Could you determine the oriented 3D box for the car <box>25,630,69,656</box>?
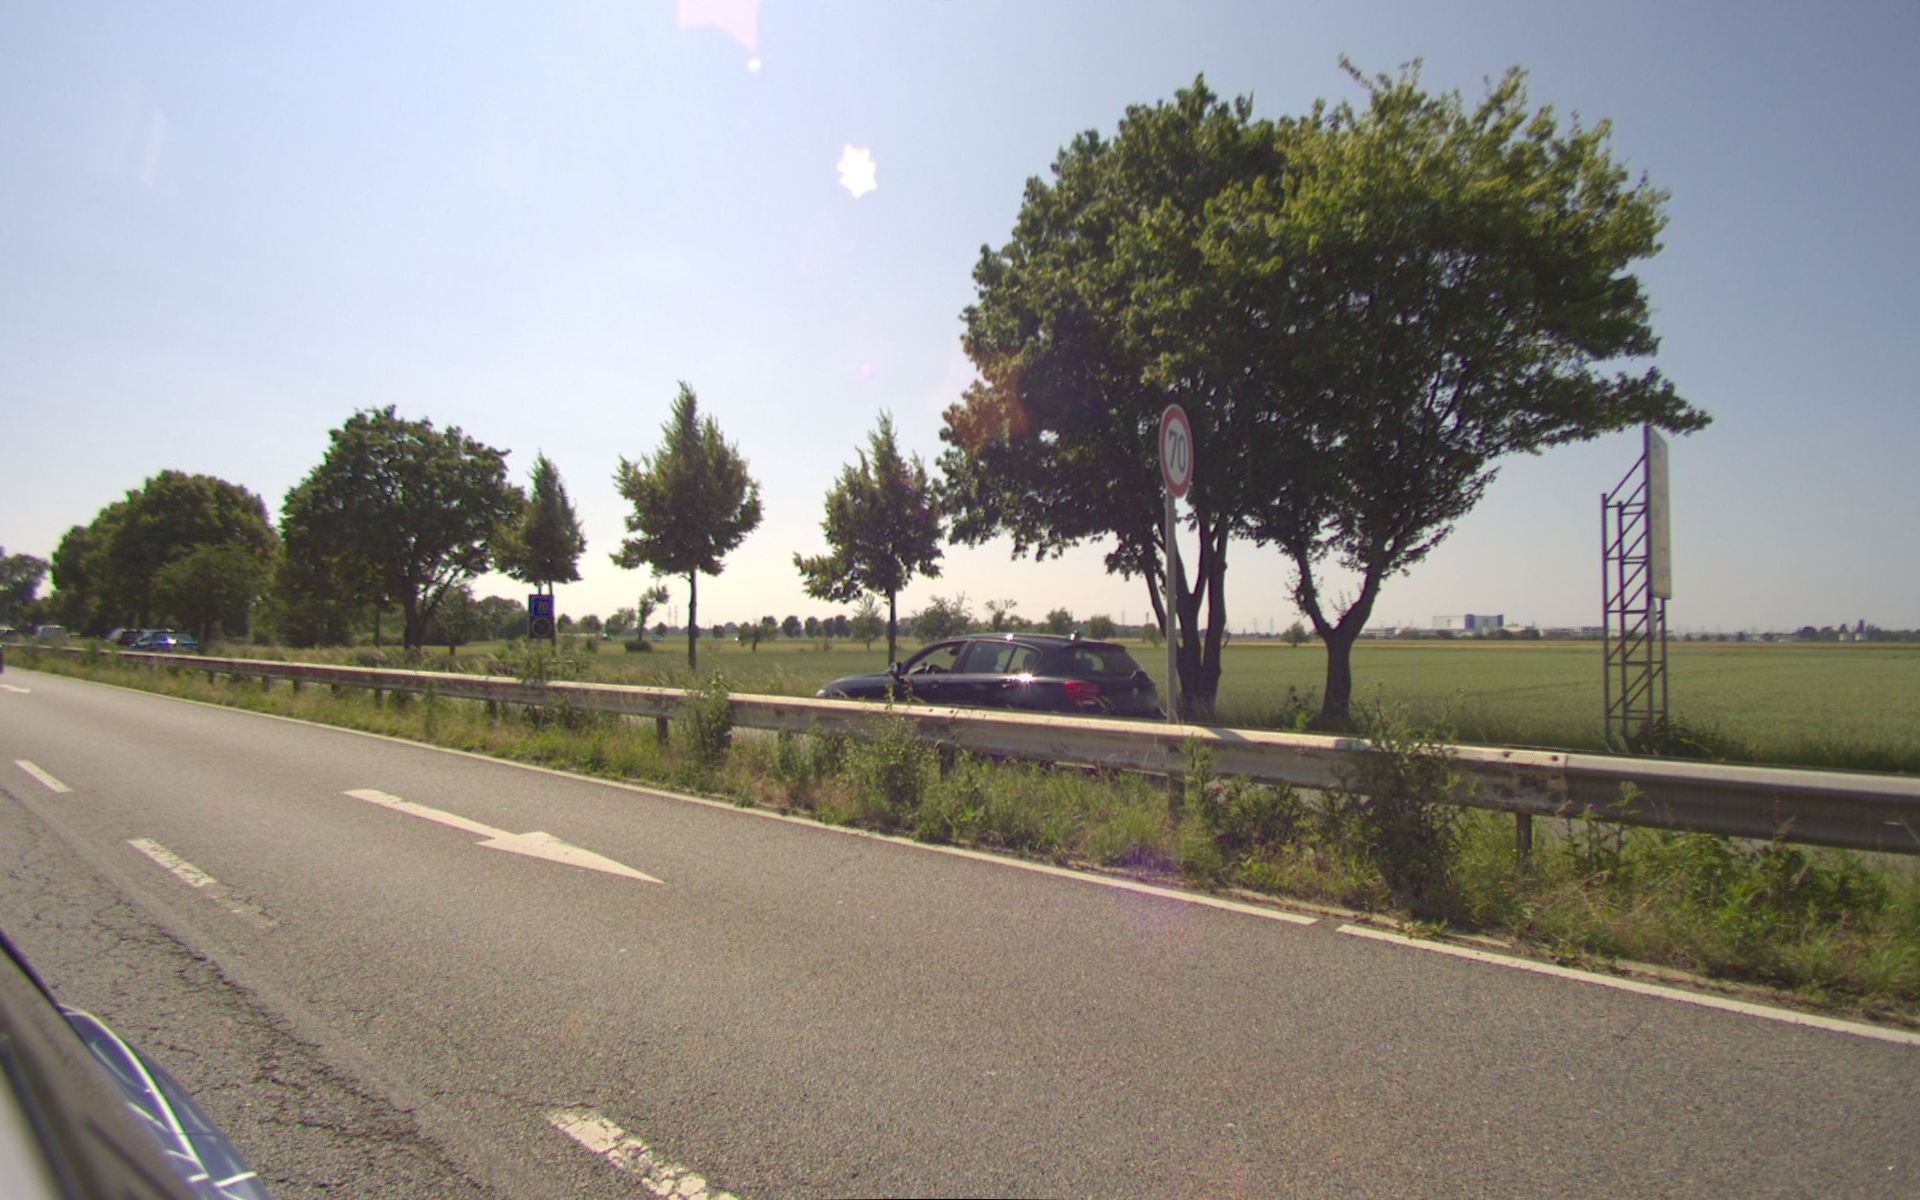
[{"bbox_3d":[-73.148,3.421,81.051,4.924,1.975,1.973,-2,-3,41],"label":"car"}]

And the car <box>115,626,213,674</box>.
[{"bbox_3d":[-29.302,1.804,37.208,4.477,1.675,1.973,-2,-3,41],"label":"car"}]

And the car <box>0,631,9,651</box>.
[{"bbox_3d":[-98.929,4.136,103.373,4.529,2.029,2.017,-2,-3,41],"label":"car"}]

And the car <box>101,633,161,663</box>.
[{"bbox_3d":[-49.048,2.806,59.828,4.477,1.675,1.973,-2,-3,41],"label":"car"}]

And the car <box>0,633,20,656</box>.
[{"bbox_3d":[-67.998,3.139,71.341,4.477,1.569,1.973,-2,-3,41],"label":"car"}]

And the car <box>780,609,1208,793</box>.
[{"bbox_3d":[0.220,0.966,11.149,4.477,1.615,1.973,-2,-3,41],"label":"car"}]
